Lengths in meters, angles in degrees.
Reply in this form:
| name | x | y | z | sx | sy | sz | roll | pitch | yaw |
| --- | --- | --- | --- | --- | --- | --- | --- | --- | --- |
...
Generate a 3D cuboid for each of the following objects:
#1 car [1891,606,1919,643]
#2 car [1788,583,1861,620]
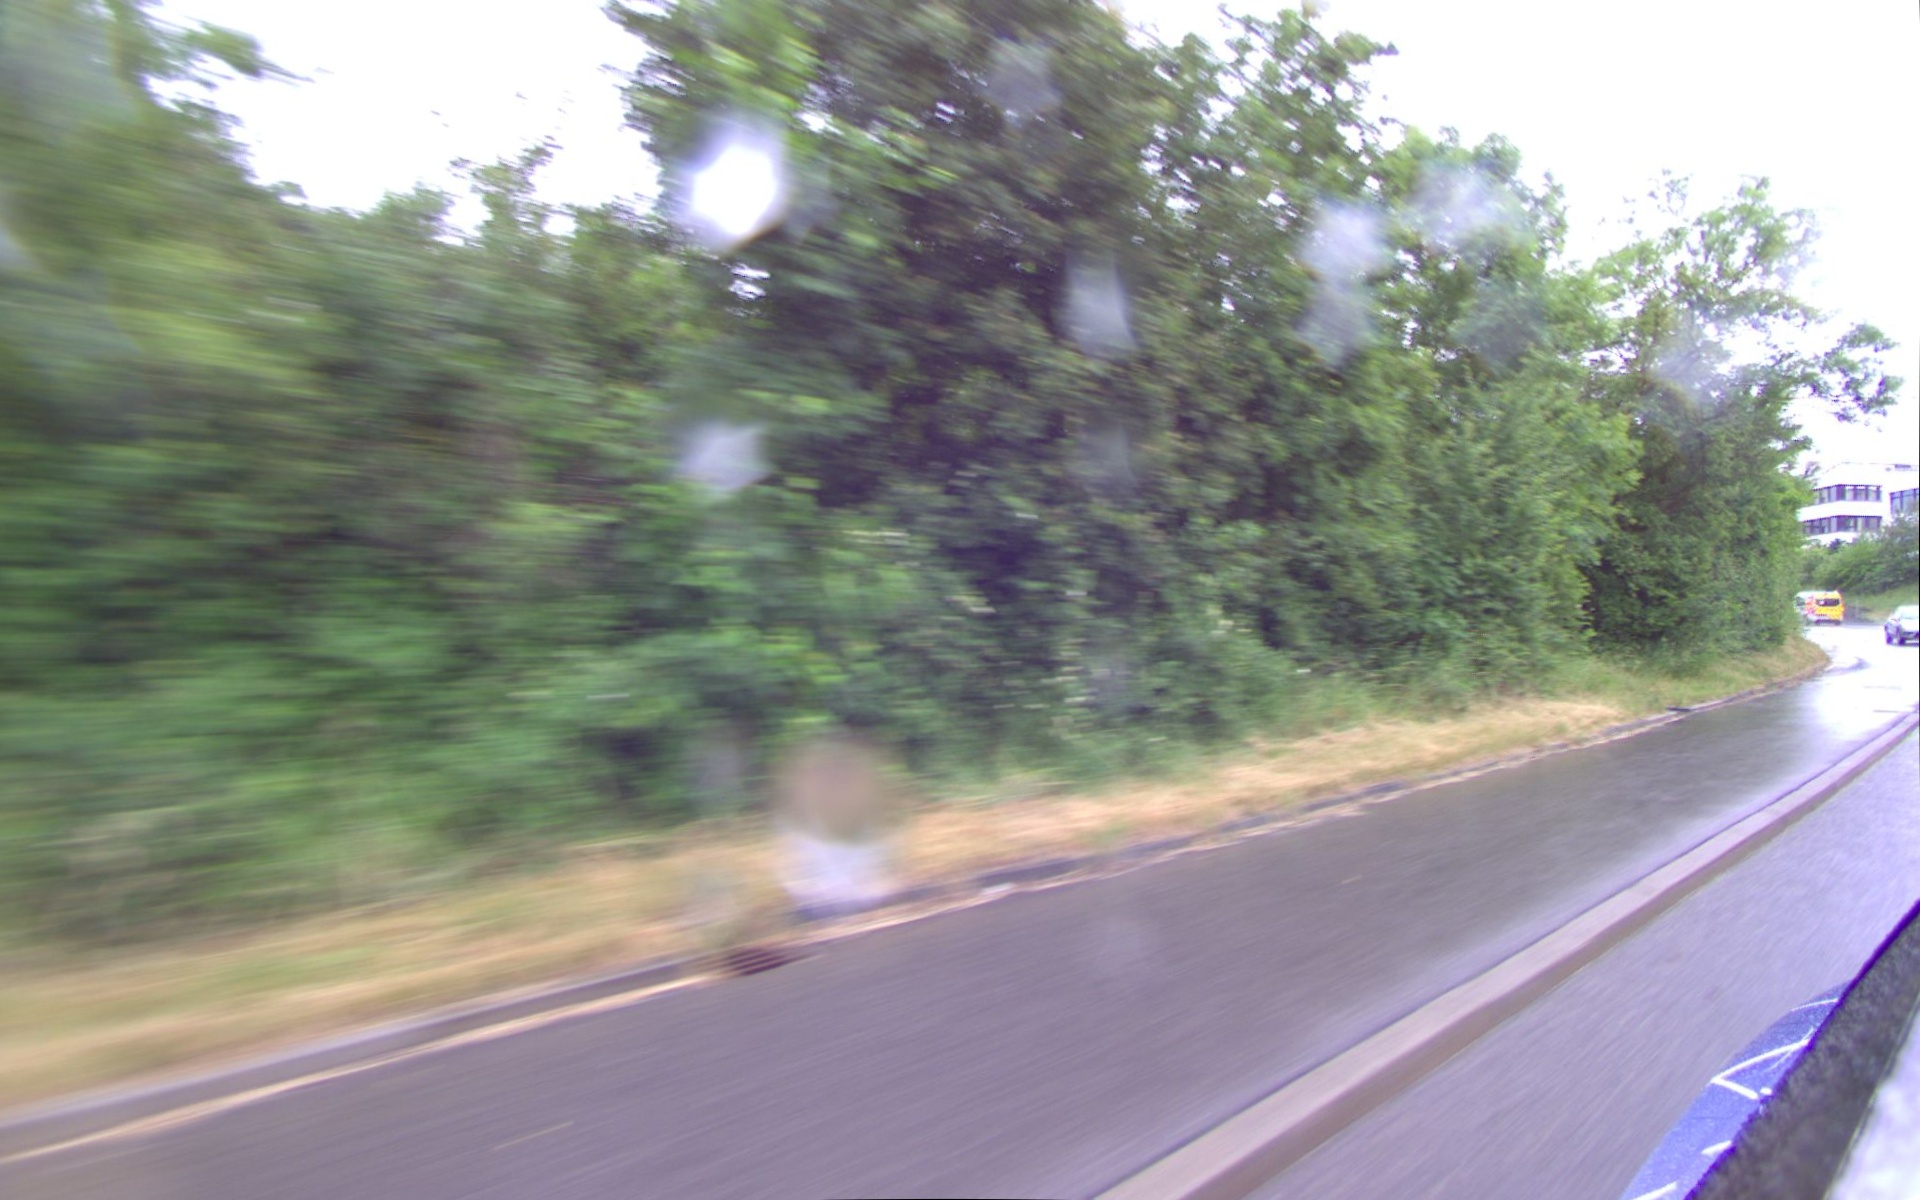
| name | x | y | z | sx | sy | sz | roll | pitch | yaw |
| --- | --- | --- | --- | --- | --- | --- | --- | --- | --- |
| car | 39.250 | 0.994 | 40.844 | 1.863 | 1.460 | 4.322 | 0 | -1 | 35 |
| car | 61.452 | 0.147 | 72.068 | 2.025 | 2.449 | 5.419 | -2 | -1 | 20 |
